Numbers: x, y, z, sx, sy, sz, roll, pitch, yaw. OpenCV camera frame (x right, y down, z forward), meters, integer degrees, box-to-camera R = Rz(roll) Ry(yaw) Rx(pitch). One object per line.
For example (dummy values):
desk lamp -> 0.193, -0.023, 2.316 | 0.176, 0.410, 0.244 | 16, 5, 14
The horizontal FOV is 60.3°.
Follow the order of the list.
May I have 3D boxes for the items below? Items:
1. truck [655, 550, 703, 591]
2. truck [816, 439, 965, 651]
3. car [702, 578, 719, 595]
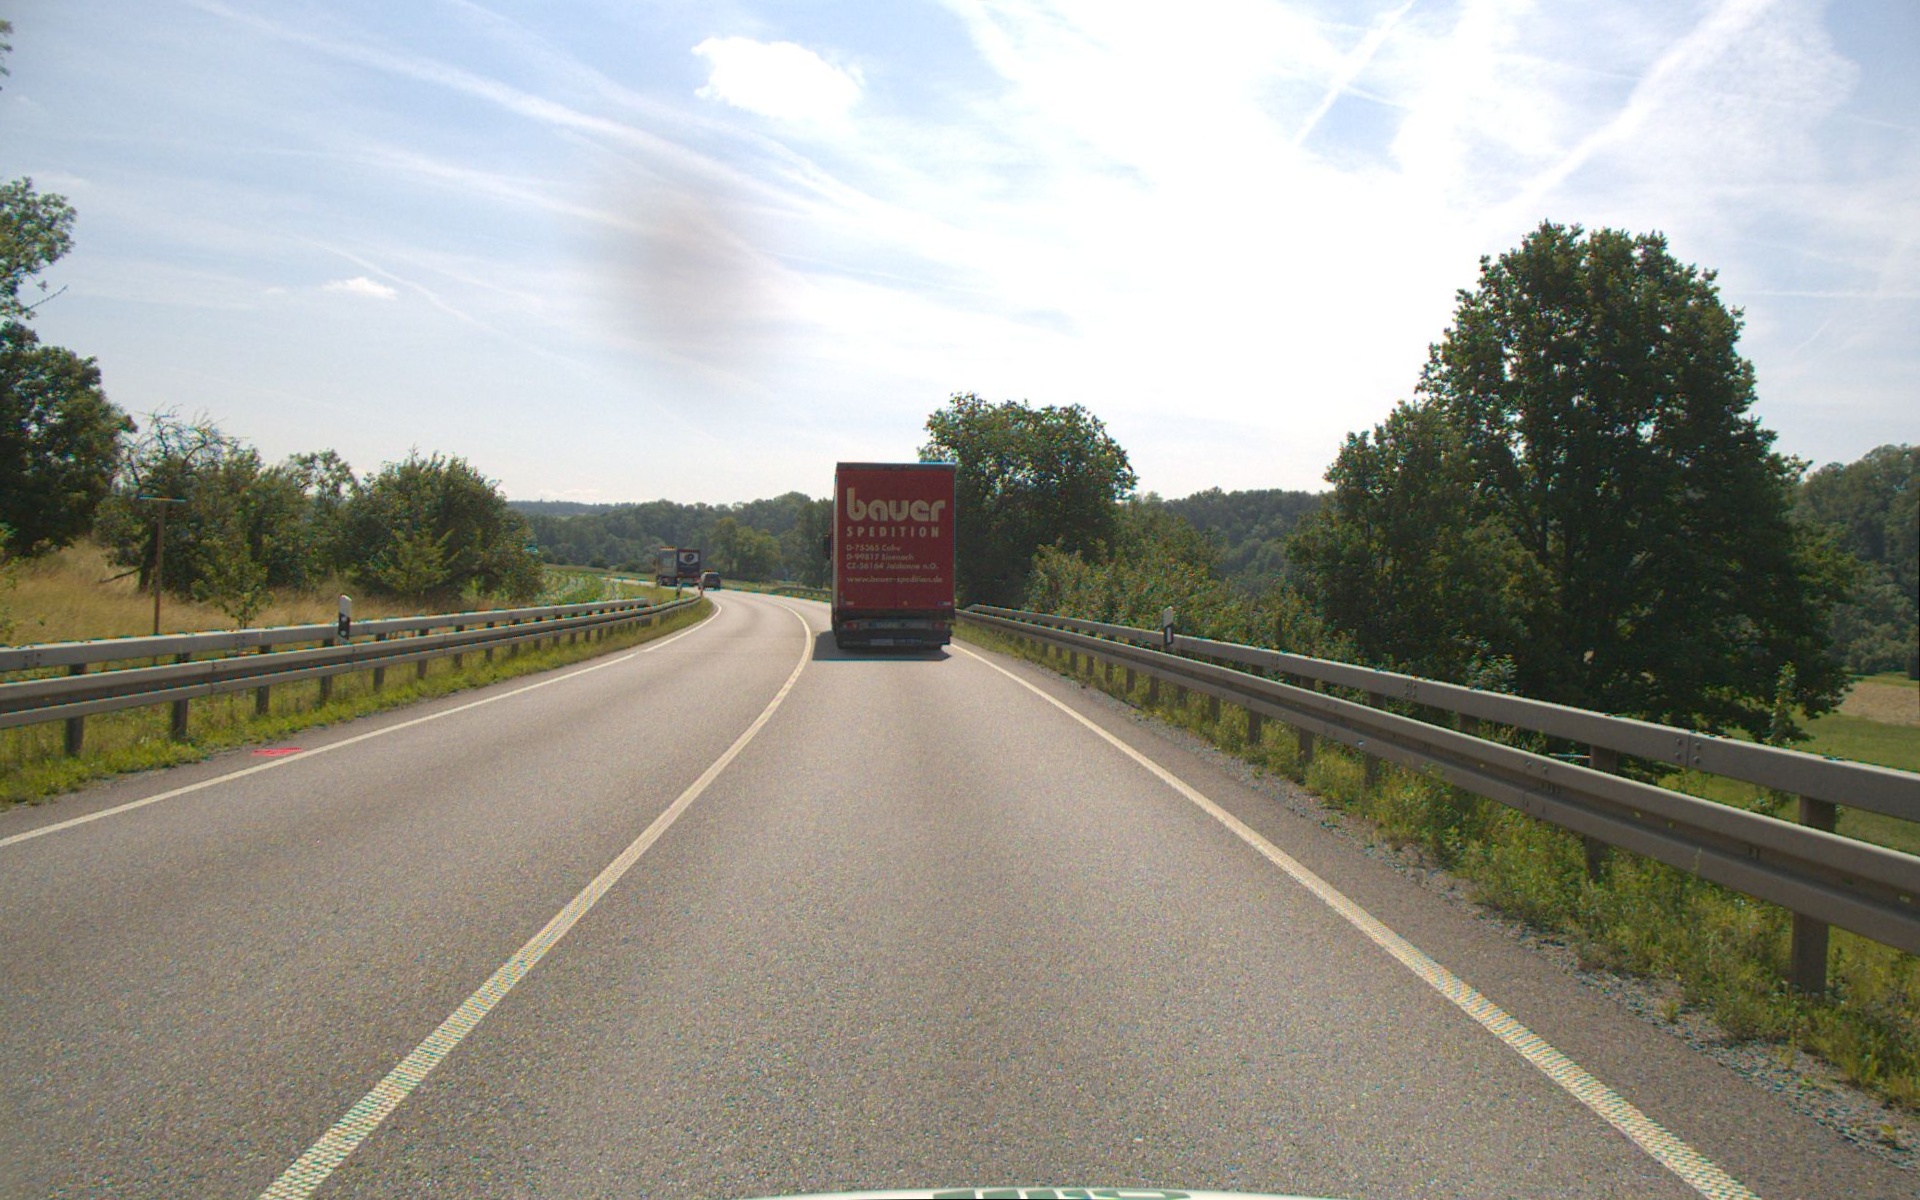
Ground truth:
truck -> -31.348, -3.257, 184.190 | 3.584, 4.367, 11.923 | 0, 0, -18
truck -> -1.680, -1.189, 38.289 | 3.033, 4.337, 8.309 | 0, 1, -4
car -> -24.213, -1.324, 160.219 | 1.552, 1.527, 3.868 | 1, 1, -9
